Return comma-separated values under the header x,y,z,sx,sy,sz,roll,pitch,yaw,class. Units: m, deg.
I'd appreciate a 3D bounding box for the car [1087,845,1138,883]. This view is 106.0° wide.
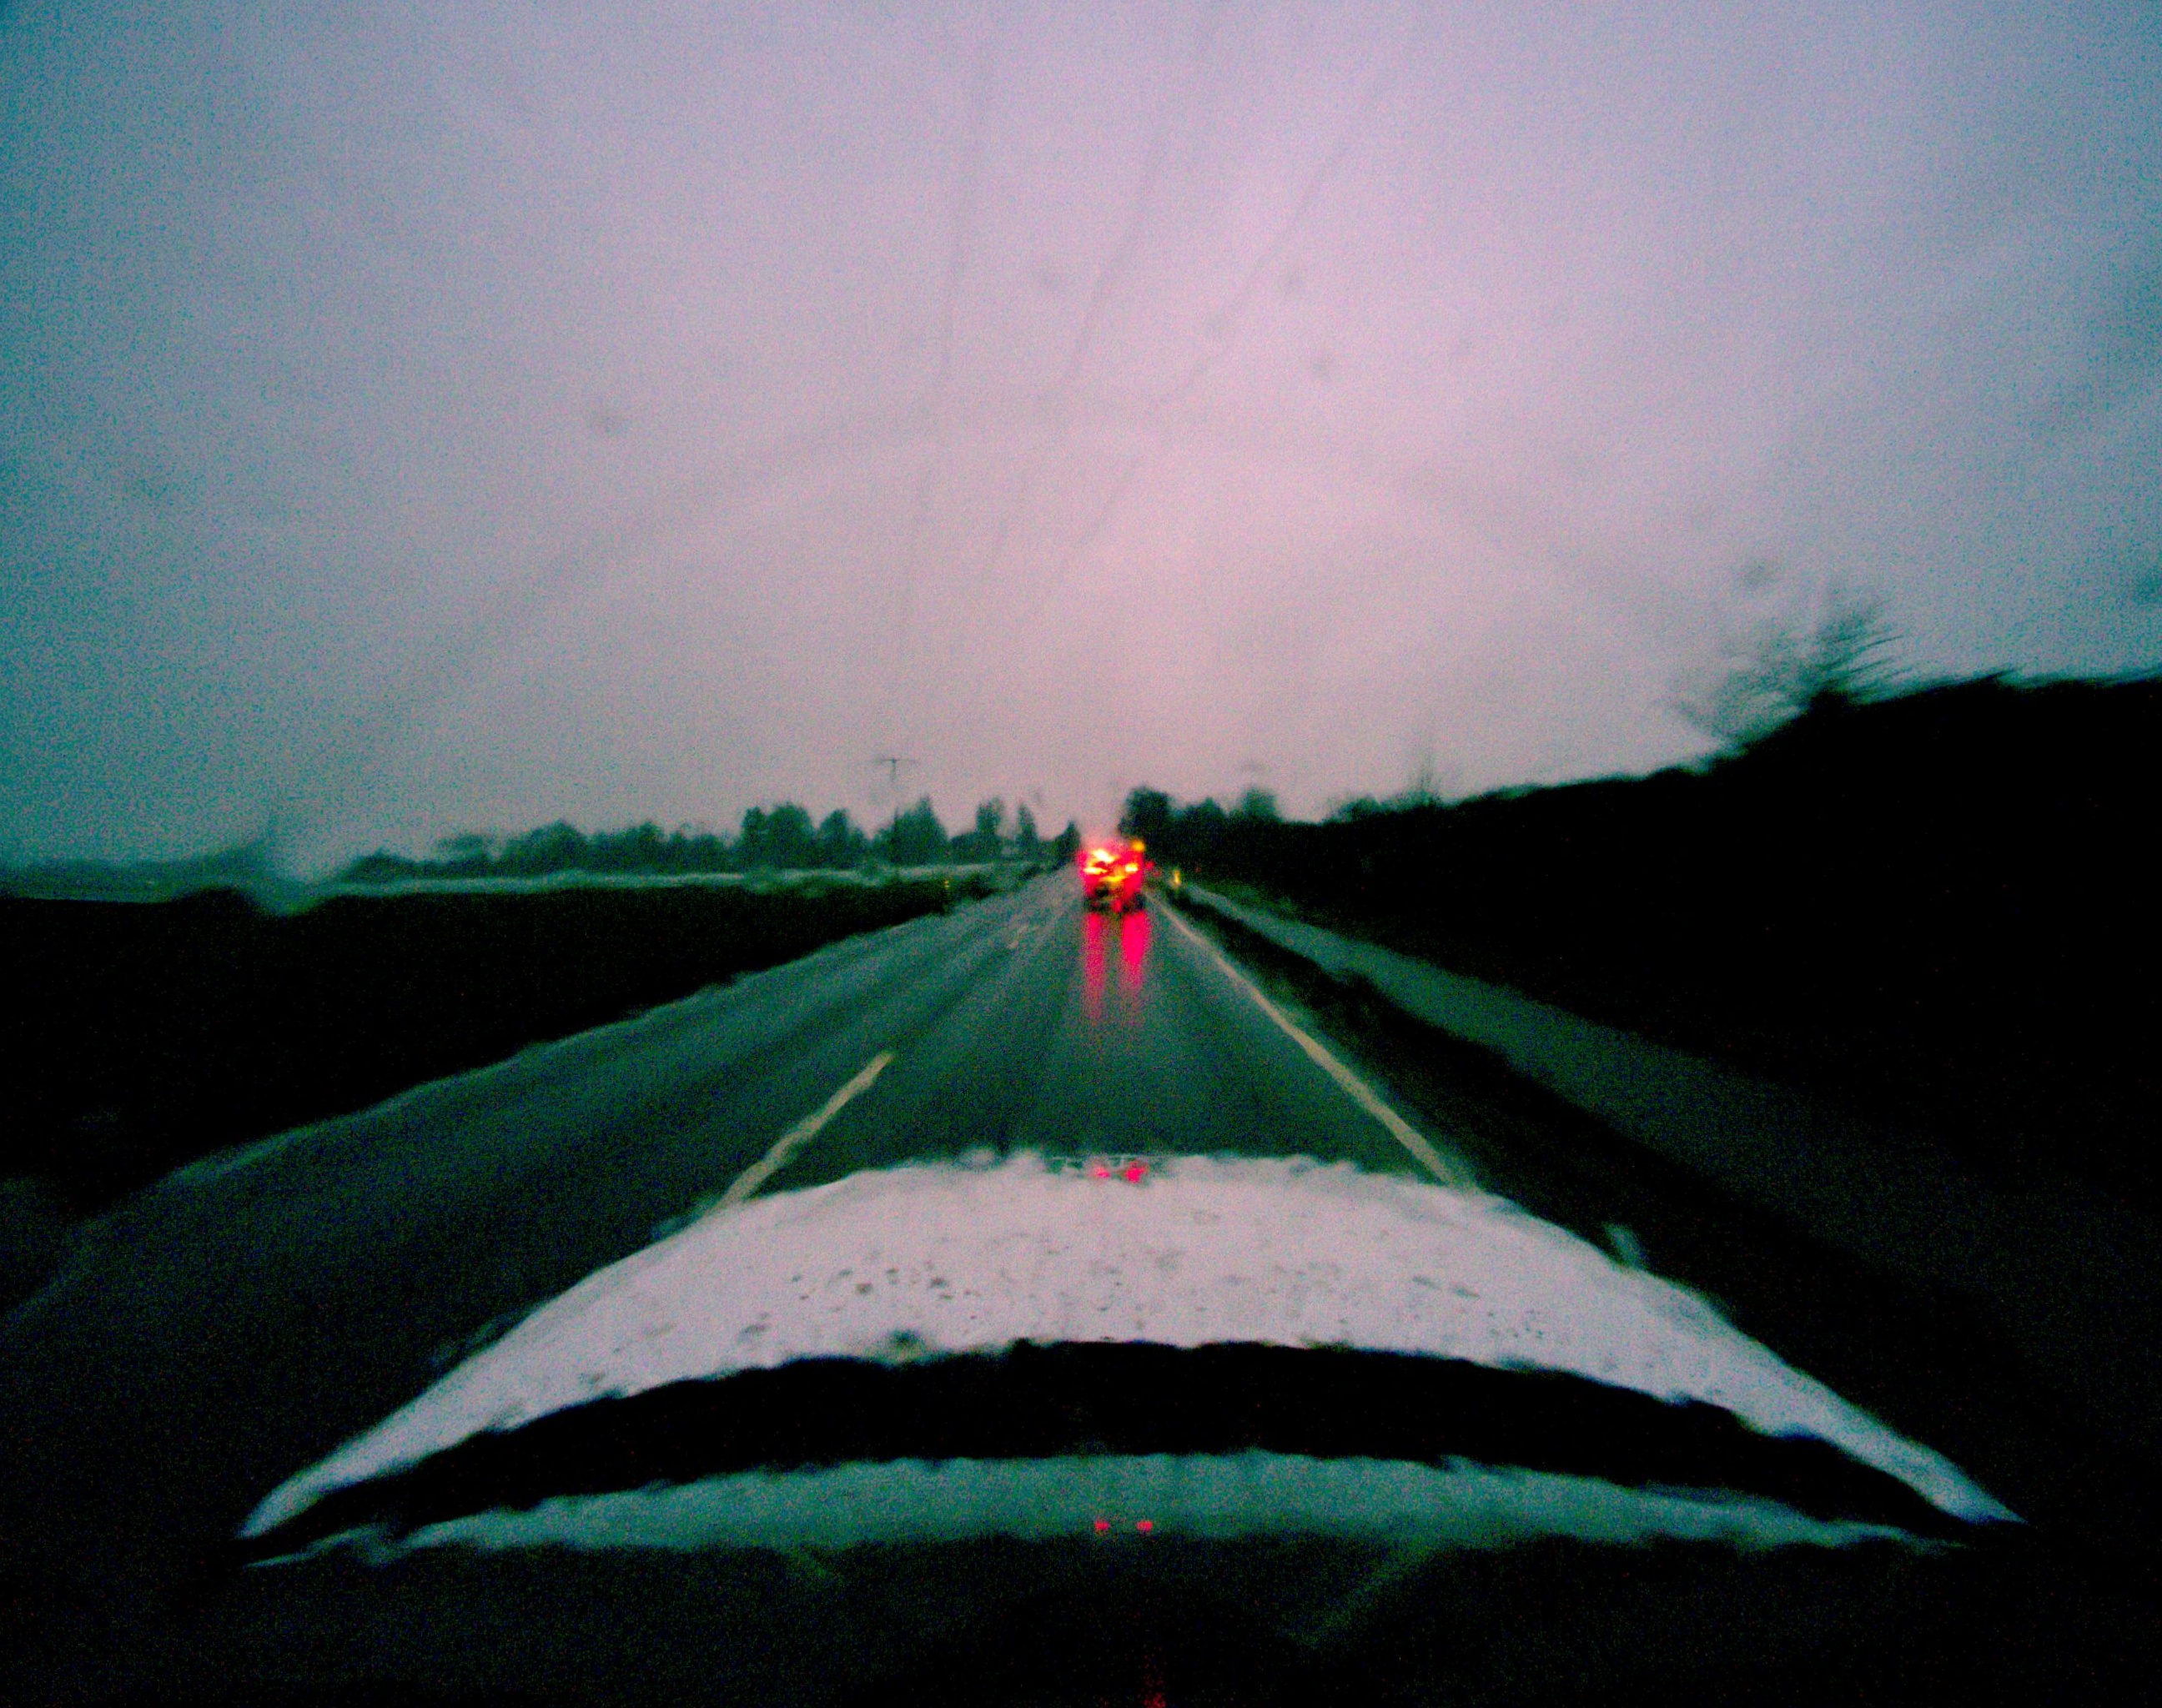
x,y,z,sx,sy,sz,roll,pitch,yaw,class
1.919,0.571,48.757,2.745,2.035,6.595,-2,0,3,car

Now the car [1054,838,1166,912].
x,y,z,sx,sy,sz,roll,pitch,yaw,class
0.995,0.587,26.986,3.152,2.035,6.856,-2,0,3,car
